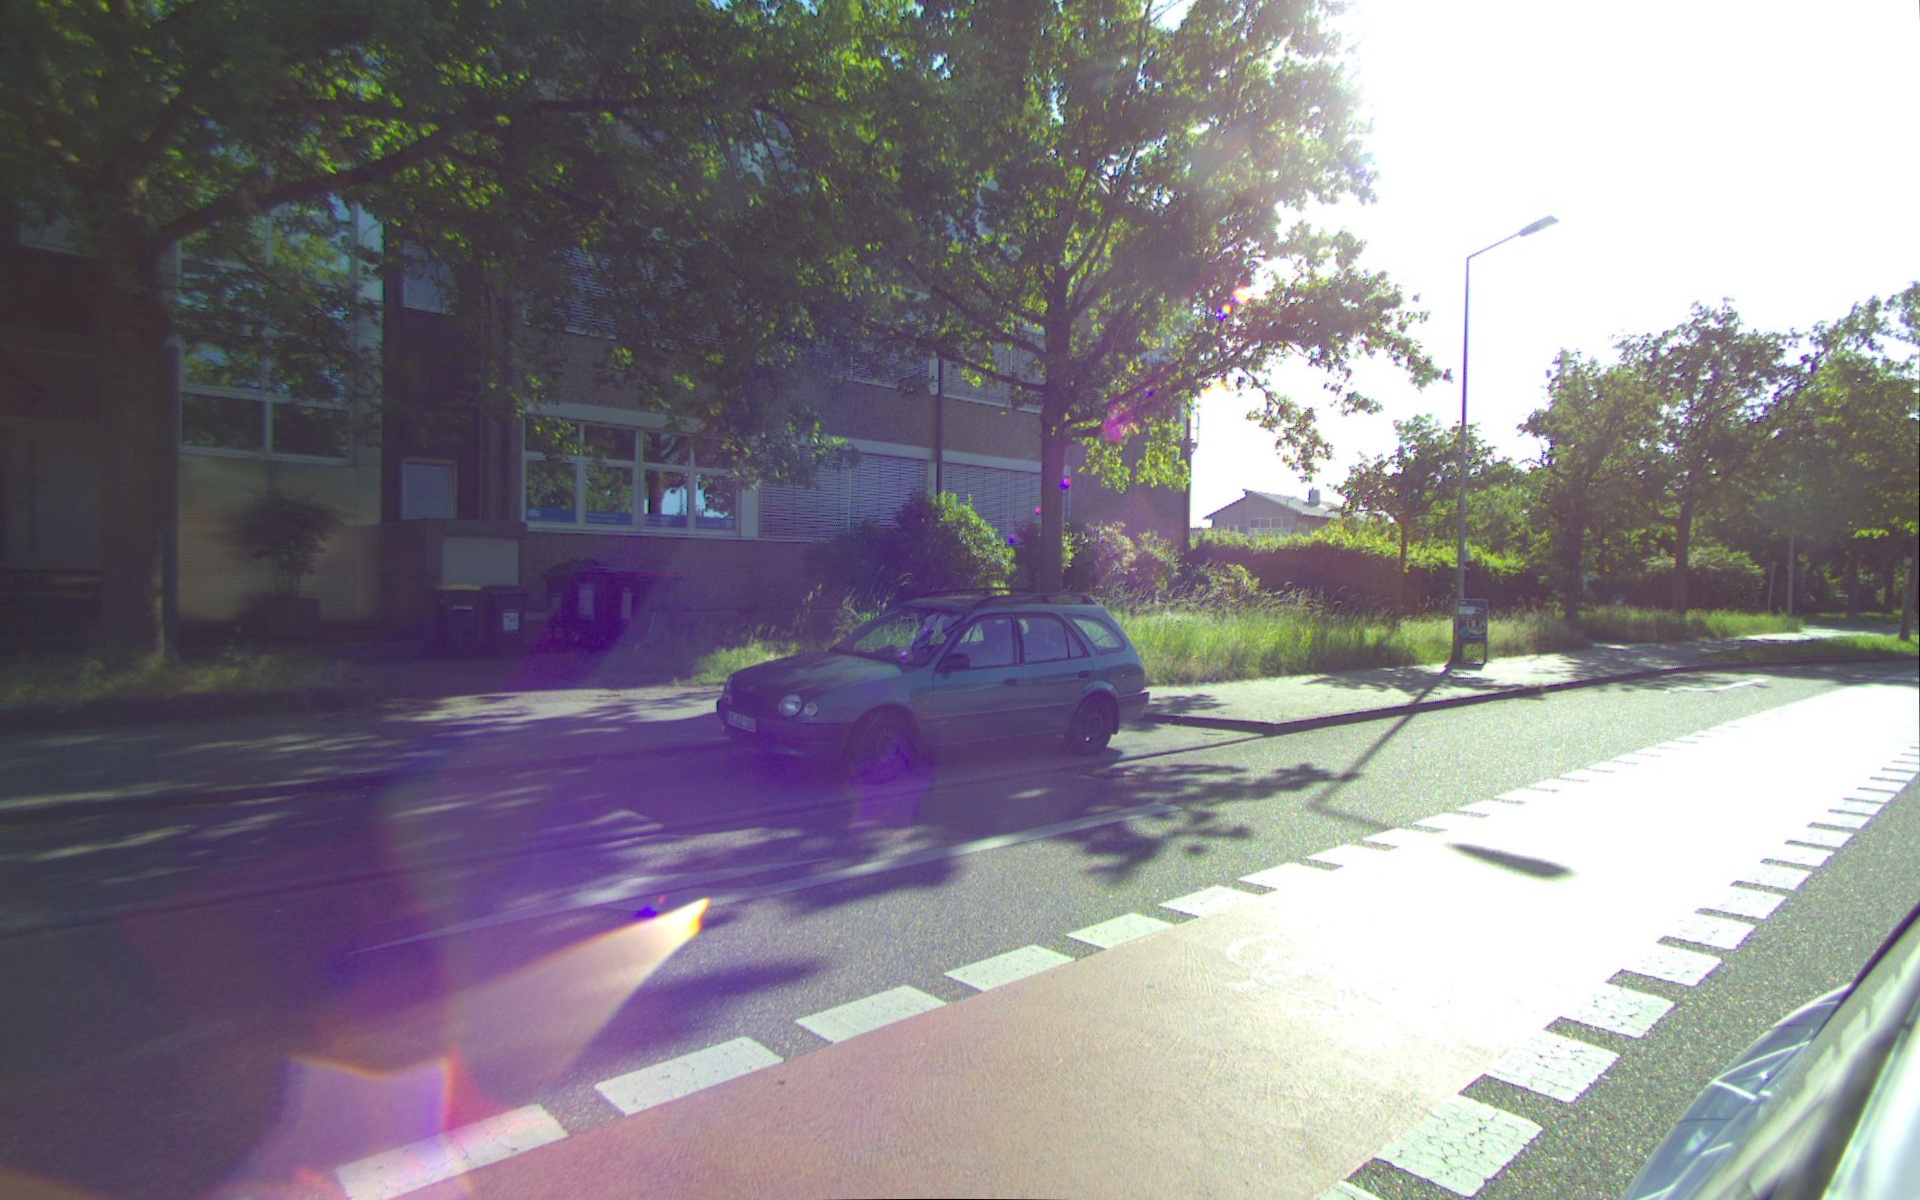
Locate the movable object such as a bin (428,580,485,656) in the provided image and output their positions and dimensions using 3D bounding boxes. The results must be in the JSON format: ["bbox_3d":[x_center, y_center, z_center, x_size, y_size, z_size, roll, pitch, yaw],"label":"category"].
[{"bbox_3d":[-7.227,0.243,14.526,0.571,1.045,0.713,0,1,-41],"label":"movable object such as a bin"}]

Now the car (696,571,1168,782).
[{"bbox_3d":[-0.091,0.504,9.094,4.129,1.446,1.596,-1,3,-40],"label":"car"}]

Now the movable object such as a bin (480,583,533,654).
[{"bbox_3d":[-6.732,0.266,15.021,0.566,1.020,0.629,-1,1,-41],"label":"movable object such as a bin"}]
